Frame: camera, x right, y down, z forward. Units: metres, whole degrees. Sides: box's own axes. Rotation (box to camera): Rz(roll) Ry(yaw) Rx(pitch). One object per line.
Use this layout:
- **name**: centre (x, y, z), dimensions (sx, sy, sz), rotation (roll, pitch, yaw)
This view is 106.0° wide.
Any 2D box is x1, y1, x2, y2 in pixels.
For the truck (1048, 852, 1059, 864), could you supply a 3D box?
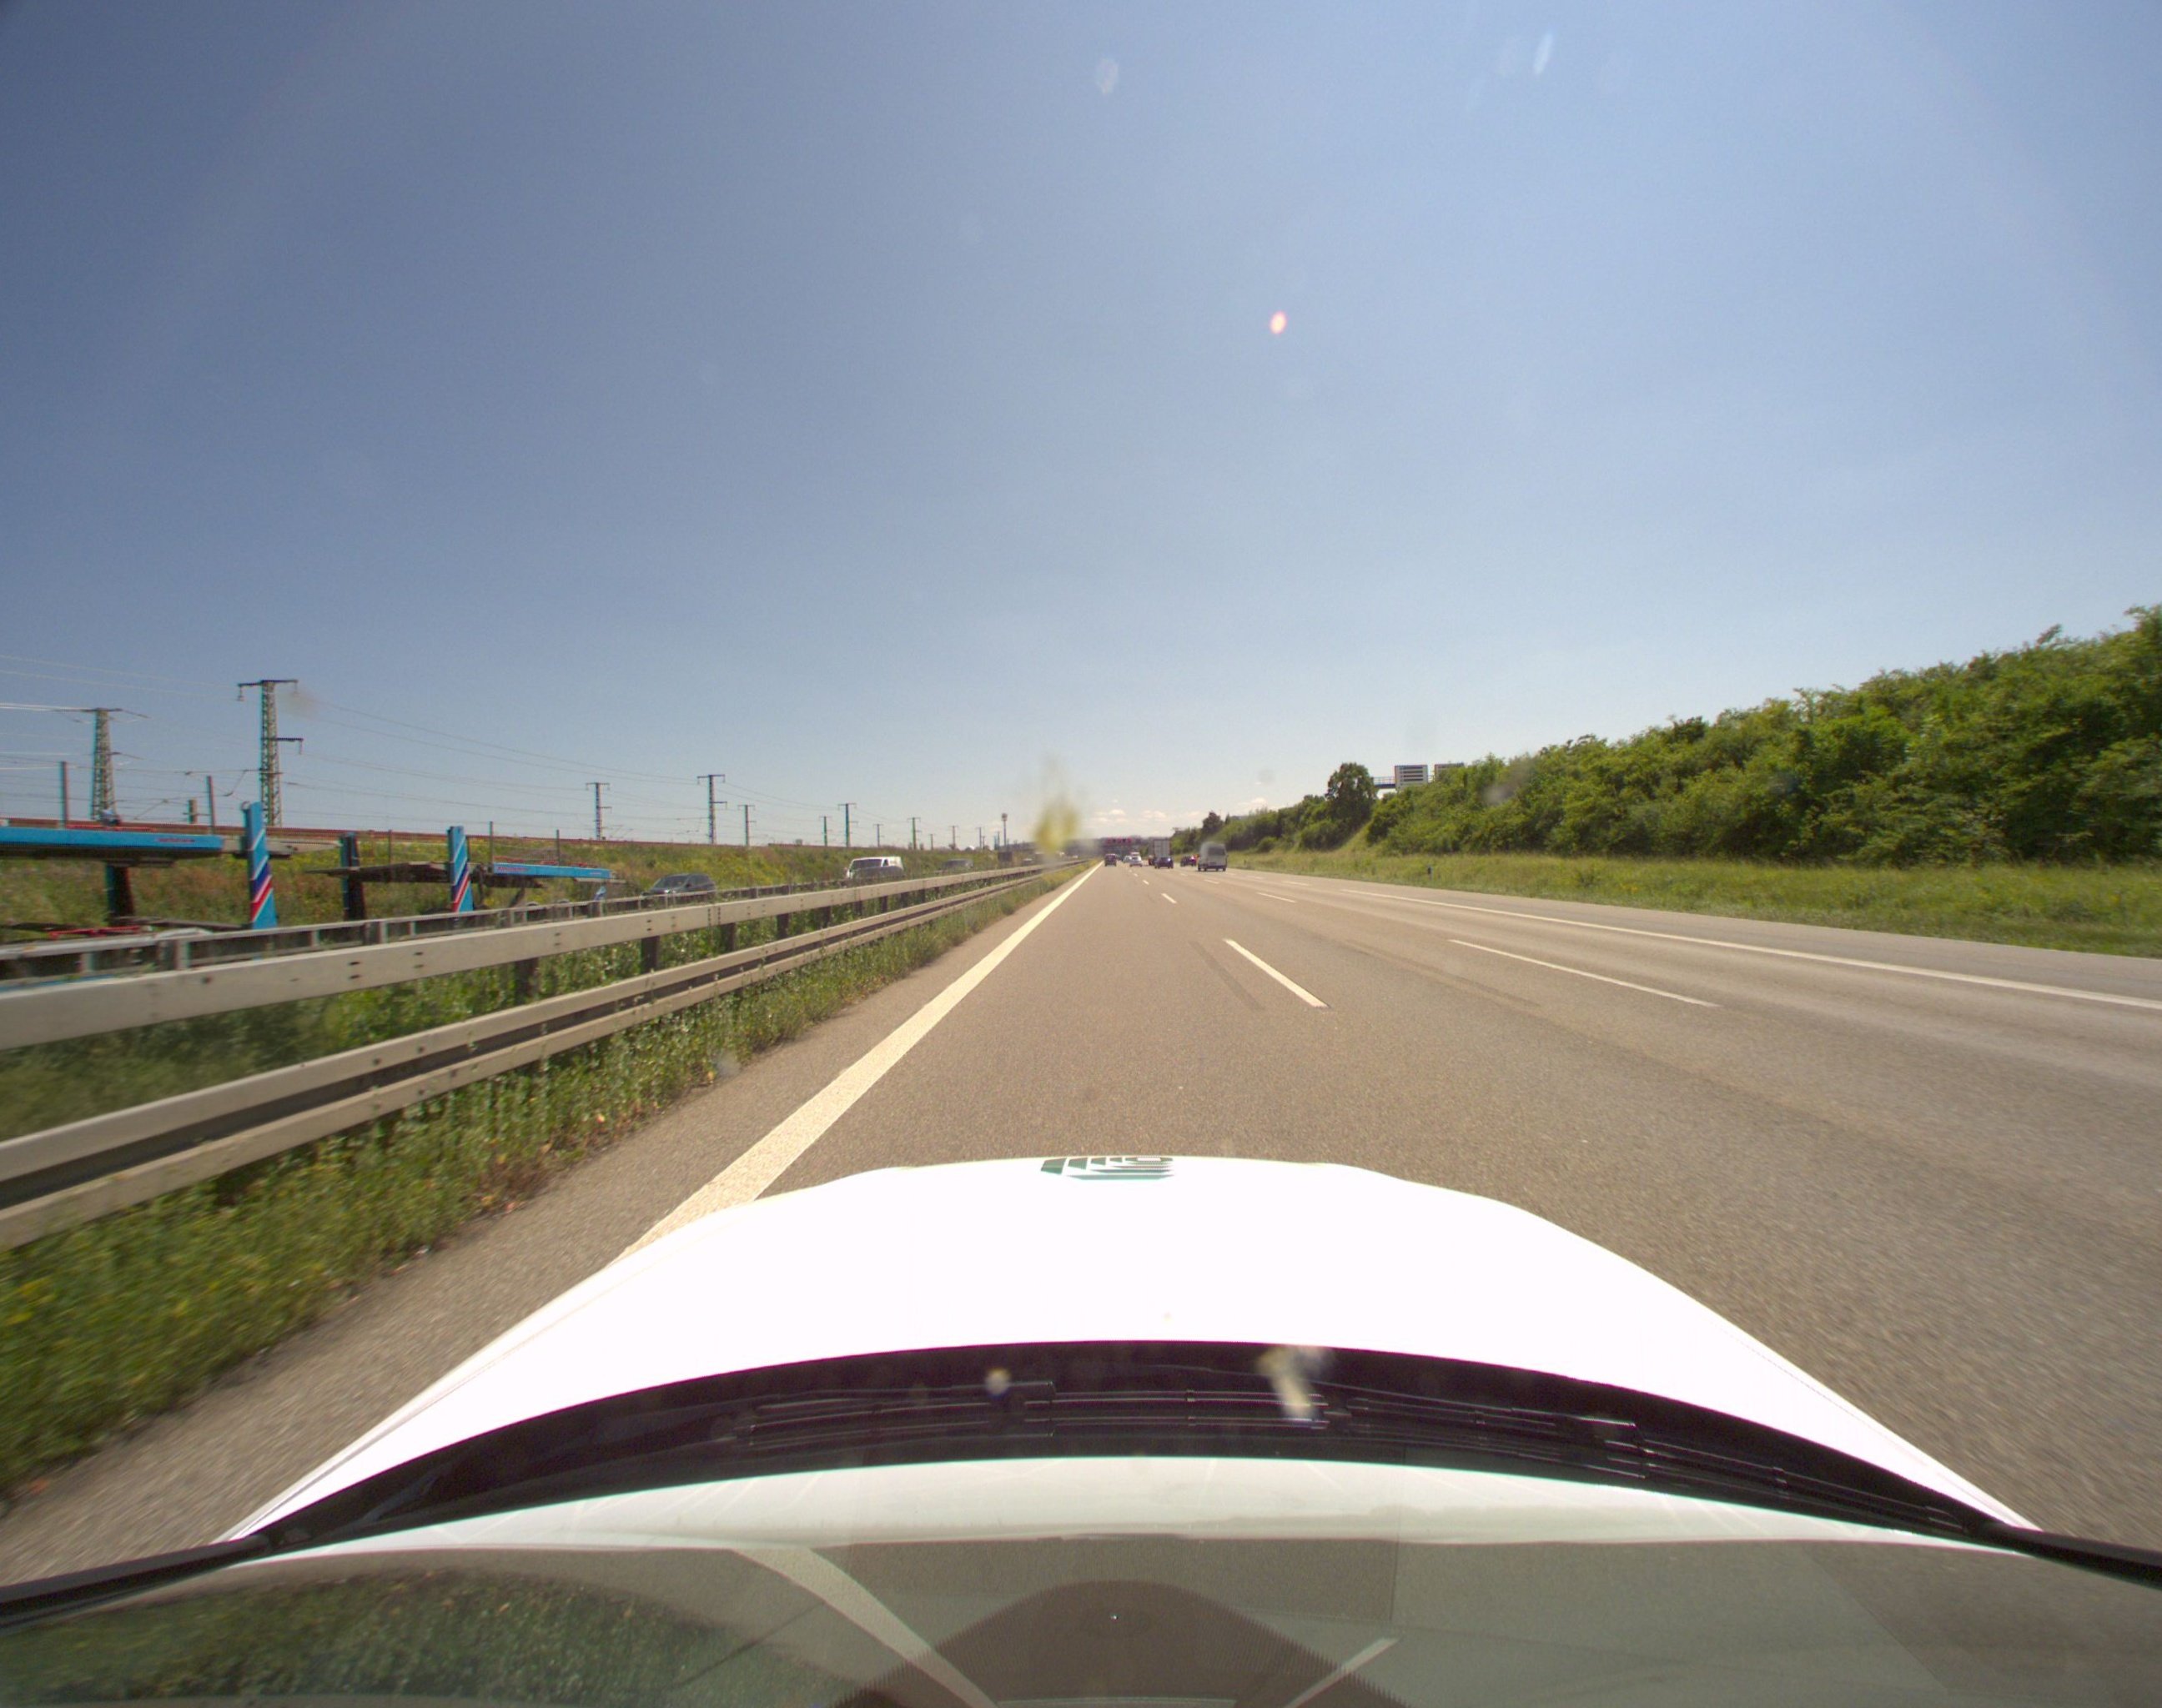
- **truck**: centre (-7.948, 1.064, 238.108), dimensions (2.777, 3.521, 4.716), rotation (0, 0, 2)

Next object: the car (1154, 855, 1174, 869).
- **car**: centre (9.711, 0.970, 95.820), dimensions (1.987, 1.508, 3.998), rotation (0, -1, 0)

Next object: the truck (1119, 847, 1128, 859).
- **truck**: centre (11.799, -0.227, 225.459), dimensions (2.346, 3.416, 6.060), rotation (-1, 0, 2)

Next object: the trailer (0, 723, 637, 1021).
- **trailer**: centre (-15.381, 0.280, 16.947), dimensions (3.039, 3.868, 15.983), rotation (-2, 0, 2)

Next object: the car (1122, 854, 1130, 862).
- **car**: centre (9.769, 0.847, 176.928), dimensions (1.873, 1.526, 4.003), rotation (-1, -1, 3)

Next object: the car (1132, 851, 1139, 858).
- **car**: centre (17.000, 0.097, 253.777), dimensions (1.985, 2.013, 4.441), rotation (-2, 0, 4)

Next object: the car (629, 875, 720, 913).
- **car**: centre (-18.581, 1.782, 37.472), dimensions (1.910, 1.515, 4.240), rotation (-2, 0, 1)

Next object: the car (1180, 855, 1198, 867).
- **car**: centre (14.665, 0.954, 110.957), dimensions (1.986, 1.596, 4.001), rotation (0, -1, 1)

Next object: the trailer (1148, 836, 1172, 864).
- **trailer**: centre (12.141, -0.632, 125.995), dimensions (3.165, 4.059, 9.444), rotation (-2, 0, 2)

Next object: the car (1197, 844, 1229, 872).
- **car**: centre (12.541, 0.344, 77.859), dimensions (2.266, 2.528, 5.400), rotation (-1, 0, 1)

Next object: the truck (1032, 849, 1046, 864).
- **truck**: centre (-9.574, 0.618, 186.932), dimensions (2.777, 3.388, 4.716), rotation (0, 0, 2)

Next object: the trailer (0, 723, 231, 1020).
- **trailer**: centre (-15.607, 0.270, 9.765), dimensions (3.039, 3.868, 7.206), rotation (-2, 0, 2)

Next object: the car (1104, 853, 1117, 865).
- **car**: centre (4.494, 0.760, 124.695), dimensions (1.873, 1.775, 4.002), rotation (-2, -1, 2)

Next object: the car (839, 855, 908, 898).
- **car**: centre (-10.544, 1.103, 41.871), dimensions (1.986, 2.013, 5.433), rotation (-1, 0, 1)

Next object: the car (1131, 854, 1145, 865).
- **car**: centre (7.942, 0.751, 114.038), dimensions (1.872, 1.526, 4.005), rotation (-1, -1, 5)
